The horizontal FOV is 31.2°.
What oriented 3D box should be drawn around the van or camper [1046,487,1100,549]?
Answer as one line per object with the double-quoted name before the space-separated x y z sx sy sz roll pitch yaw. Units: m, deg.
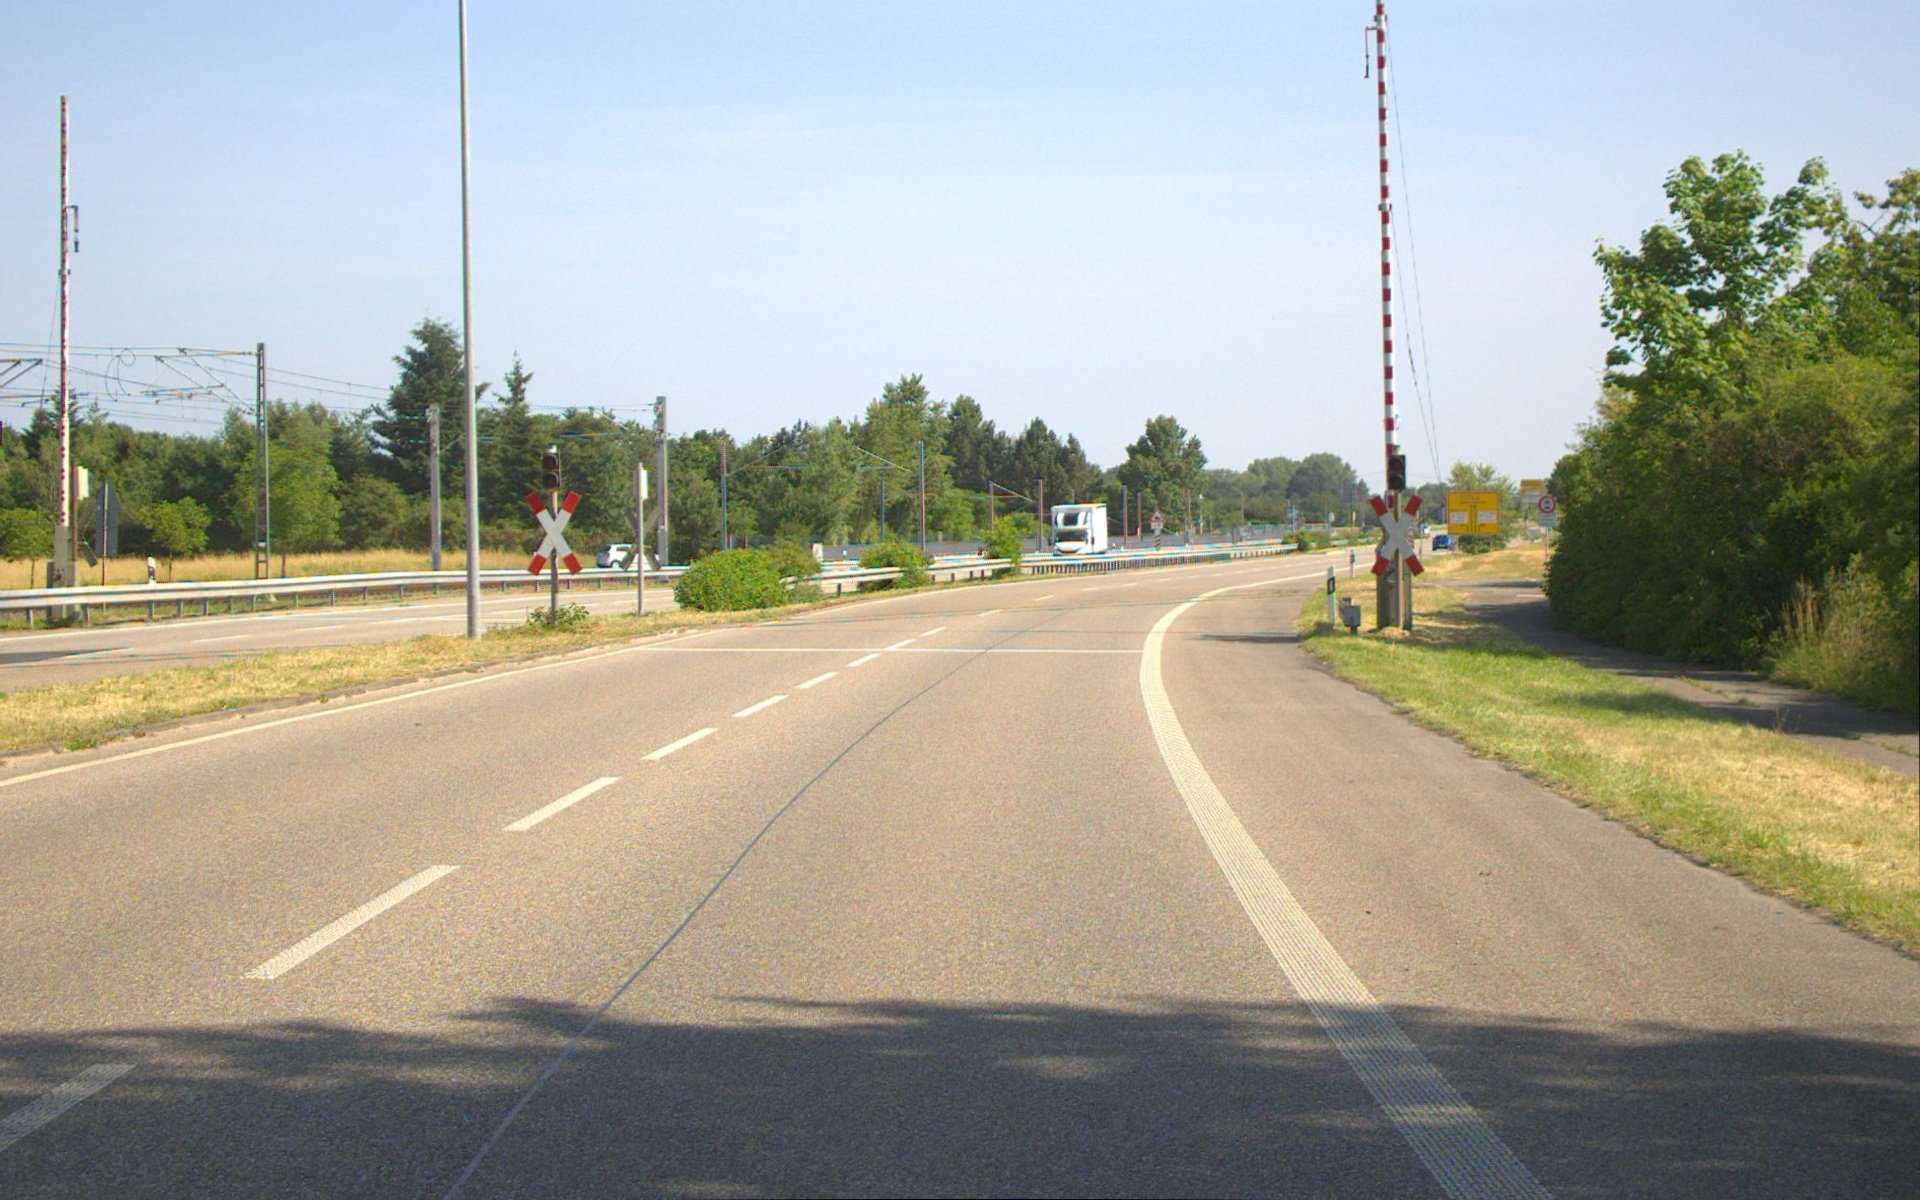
"van or camper" 6.846 -4.989 208.561 2.876 3.668 8.644 -1 1 0
